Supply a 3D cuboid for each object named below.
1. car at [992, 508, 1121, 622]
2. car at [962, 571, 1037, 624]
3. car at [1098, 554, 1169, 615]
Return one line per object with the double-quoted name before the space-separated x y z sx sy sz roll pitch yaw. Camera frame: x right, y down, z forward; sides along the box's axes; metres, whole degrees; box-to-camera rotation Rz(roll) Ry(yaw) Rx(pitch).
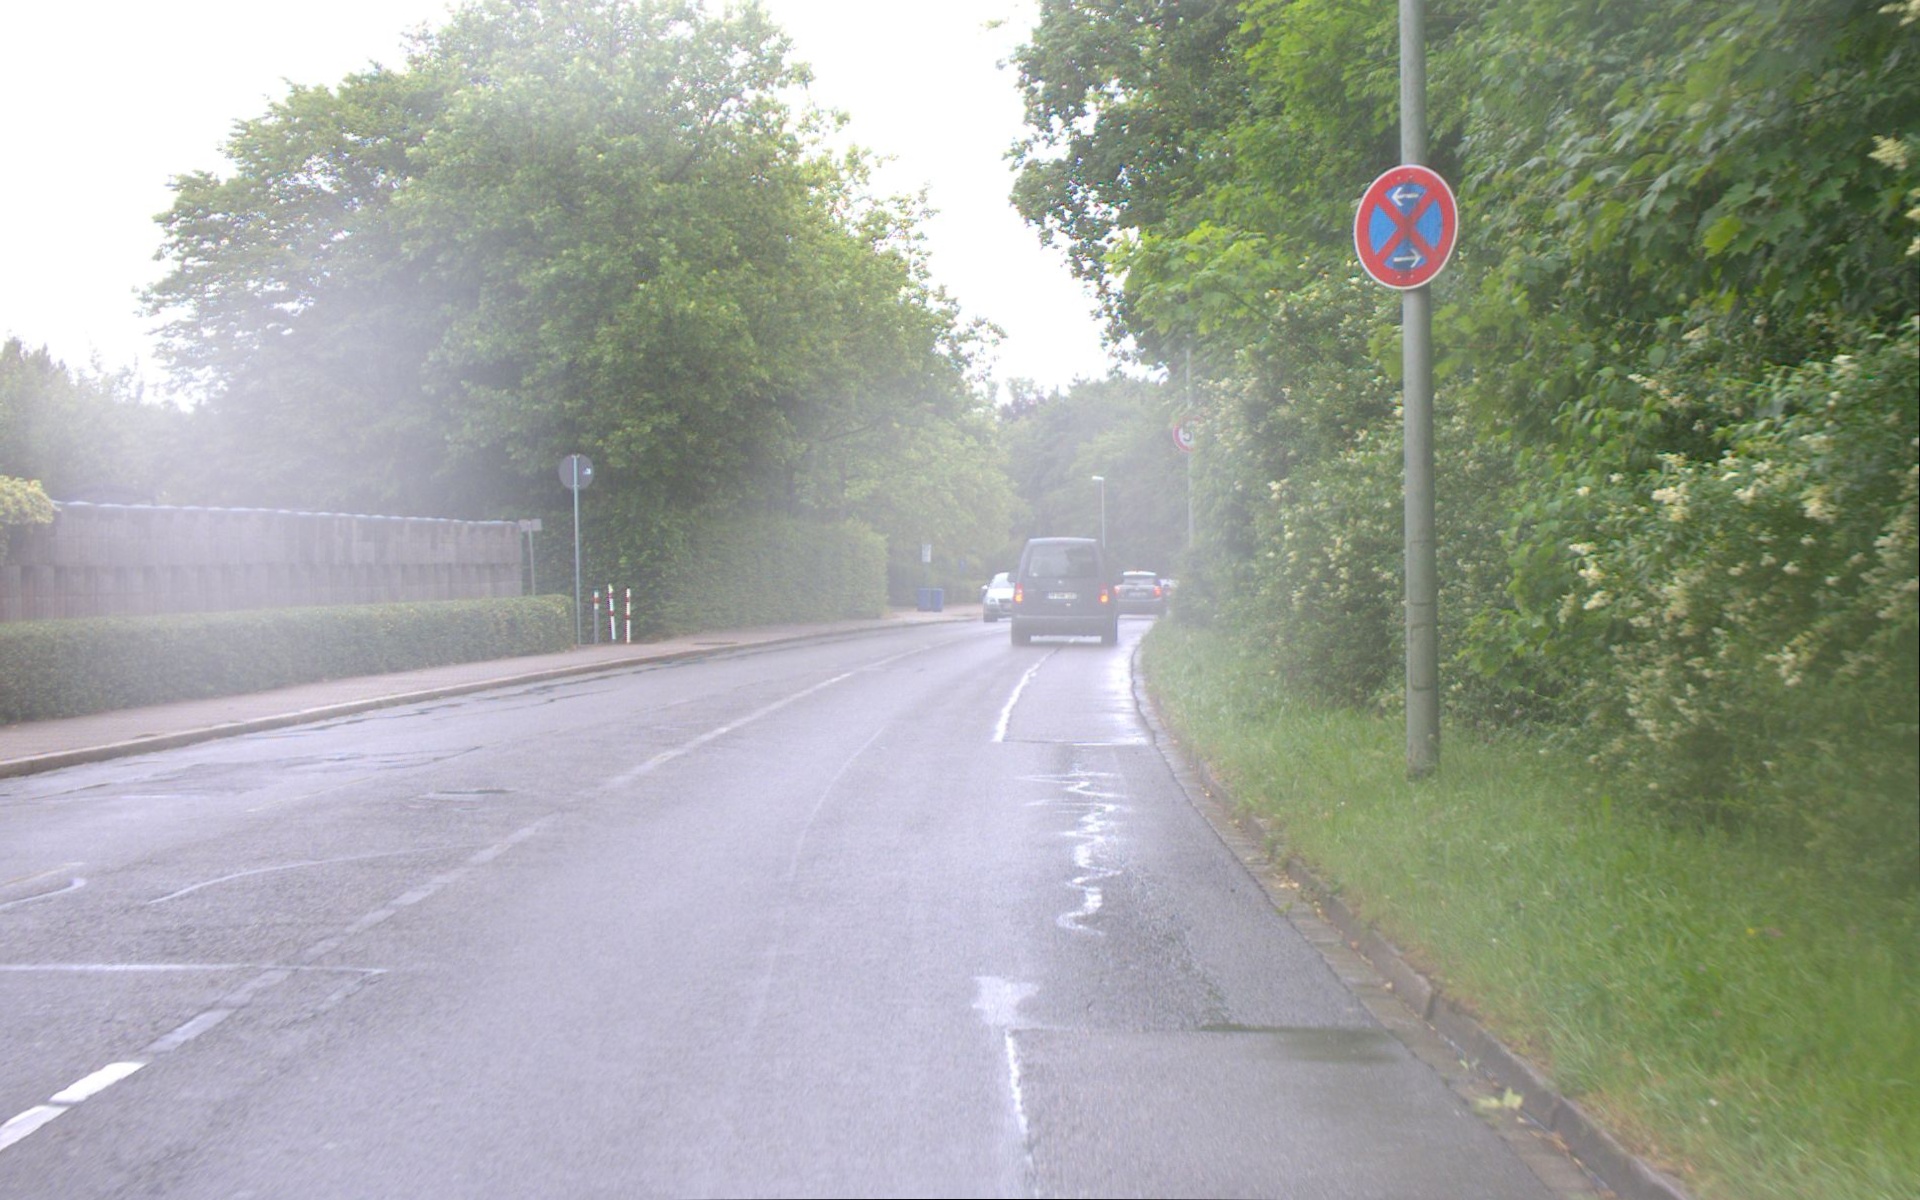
"car" 1.698 -0.639 59.320 1.994 1.787 4.000 2 2 4
"car" 1.189 -0.096 102.023 1.994 1.415 4.485 -2 1 3
"car" 5.362 -0.487 105.792 1.950 1.744 3.999 -1 2 6
